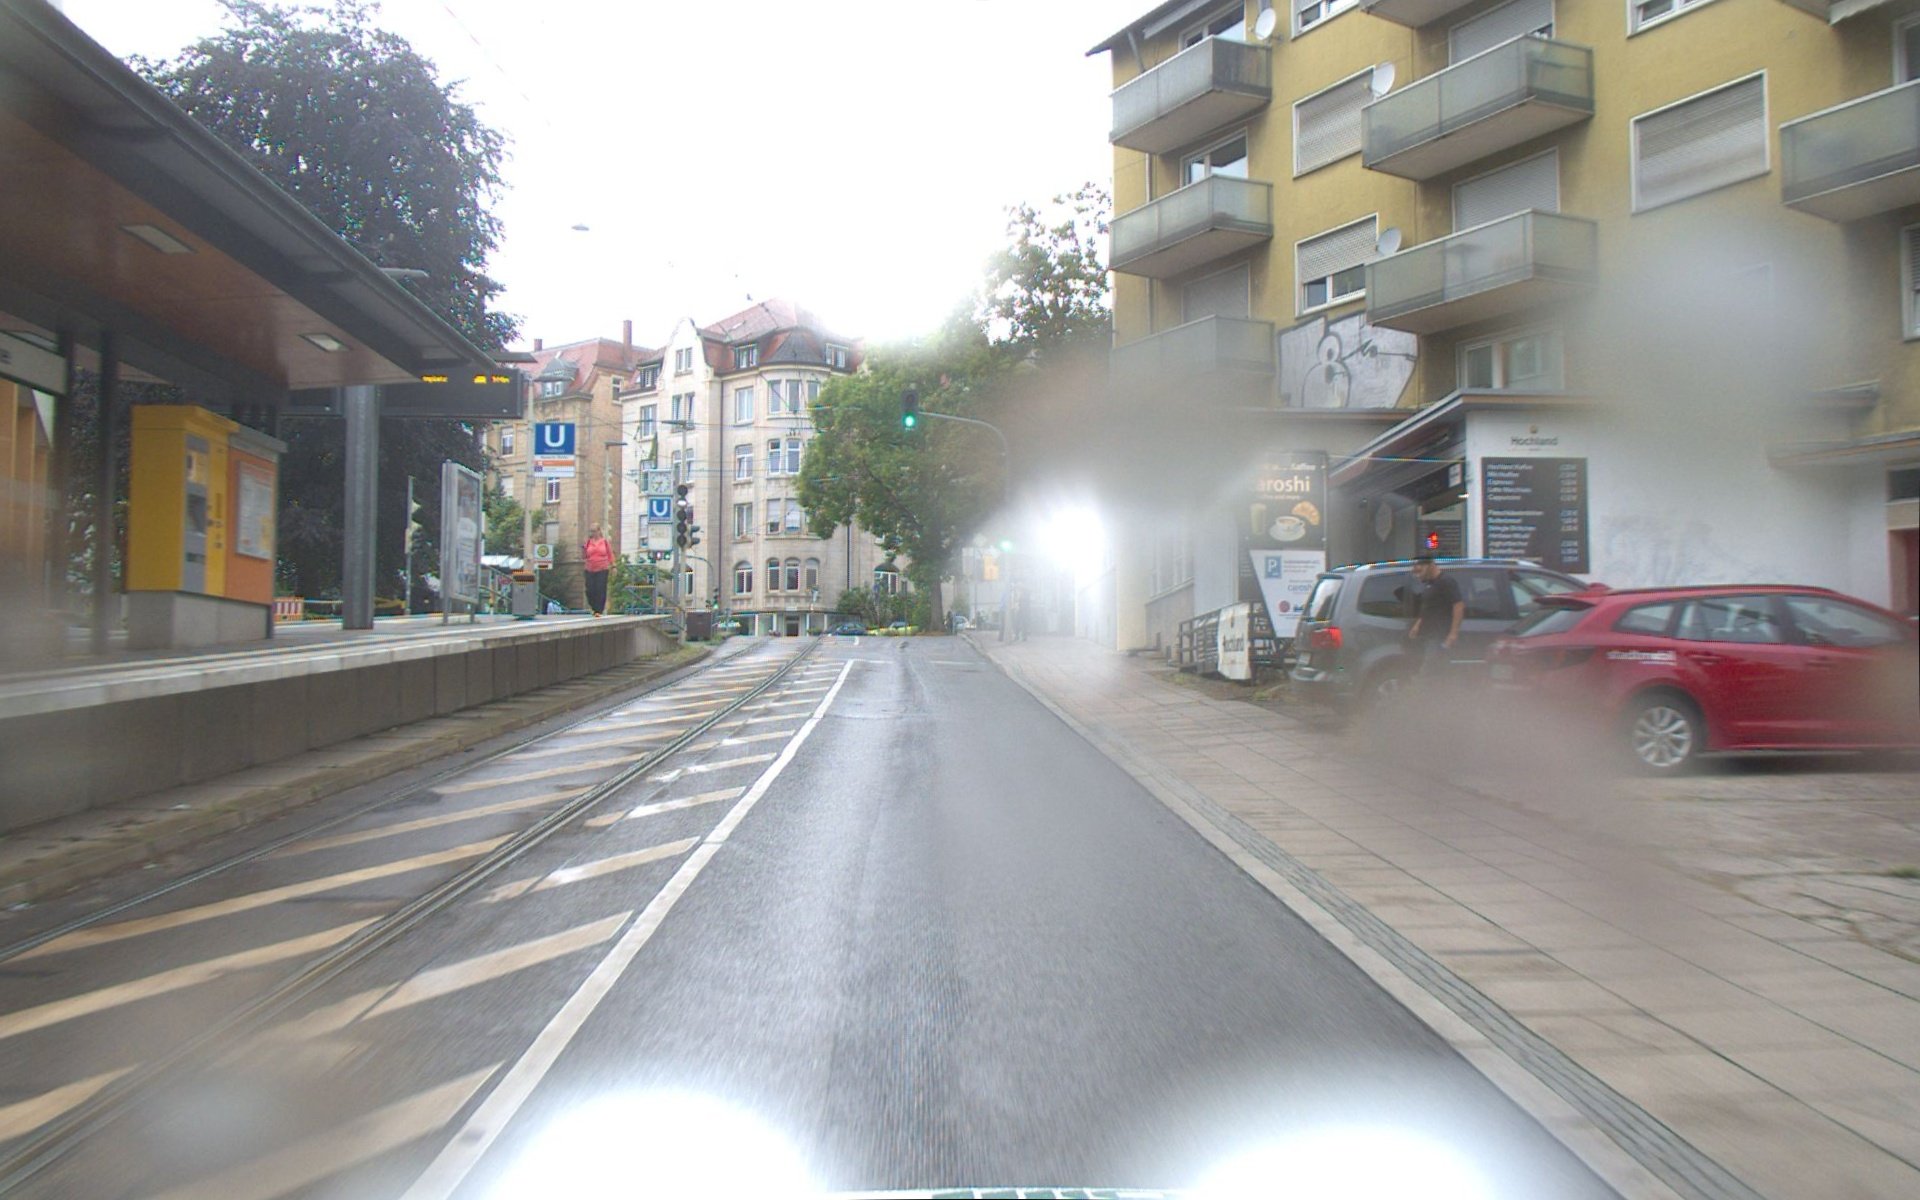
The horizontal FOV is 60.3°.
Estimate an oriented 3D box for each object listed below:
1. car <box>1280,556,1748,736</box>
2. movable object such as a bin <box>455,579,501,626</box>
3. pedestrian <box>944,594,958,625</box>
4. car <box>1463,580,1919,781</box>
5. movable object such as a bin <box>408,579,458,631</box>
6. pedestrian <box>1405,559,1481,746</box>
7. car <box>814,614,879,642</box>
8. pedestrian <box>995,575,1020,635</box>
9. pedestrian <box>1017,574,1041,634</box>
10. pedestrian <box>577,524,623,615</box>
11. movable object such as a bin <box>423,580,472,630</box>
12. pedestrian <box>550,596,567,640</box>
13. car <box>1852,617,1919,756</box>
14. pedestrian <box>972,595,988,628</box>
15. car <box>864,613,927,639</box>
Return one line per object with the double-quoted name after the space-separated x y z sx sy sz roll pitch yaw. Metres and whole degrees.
5.605 0.450 17.114 4.239 1.703 1.780 -1 0 0 "car"
-15.662 0.074 53.768 1.000 1.459 1.427 2 0 0 "movable object such as a bin"
-0.461 0.495 85.837 0.589 1.593 0.544 2 0 -12 "pedestrian"
6.586 0.592 13.397 4.477 1.463 1.764 -1 0 -3 "car"
-15.580 0.146 48.910 1.000 1.459 1.304 2 0 0 "movable object such as a bin"
4.627 0.490 15.865 0.593 1.744 0.722 -1 0 11 "pedestrian"
-6.719 1.654 98.295 3.642 1.534 1.709 -1 -1 -44 "car"
1.271 0.123 44.036 0.576 1.581 0.649 -1 0 -3 "pedestrian"
1.853 0.097 44.384 0.535 1.581 0.558 -1 0 -4 "pedestrian"
-6.247 -0.528 28.733 0.657 1.575 0.771 0 1 -3 "pedestrian"
-15.610 0.142 50.399 1.000 1.459 1.355 2 0 0 "movable object such as a bin"
-16.036 0.718 66.087 0.558 1.714 0.774 -1 -2 -9 "pedestrian"
12.036 0.870 17.301 4.420 1.426 1.780 -1 -3 -1 "car"
1.041 0.581 85.193 0.539 1.658 0.594 2 0 -35 "pedestrian"
-3.944 1.592 101.249 3.643 1.534 1.709 -1 -1 -44 "car"
